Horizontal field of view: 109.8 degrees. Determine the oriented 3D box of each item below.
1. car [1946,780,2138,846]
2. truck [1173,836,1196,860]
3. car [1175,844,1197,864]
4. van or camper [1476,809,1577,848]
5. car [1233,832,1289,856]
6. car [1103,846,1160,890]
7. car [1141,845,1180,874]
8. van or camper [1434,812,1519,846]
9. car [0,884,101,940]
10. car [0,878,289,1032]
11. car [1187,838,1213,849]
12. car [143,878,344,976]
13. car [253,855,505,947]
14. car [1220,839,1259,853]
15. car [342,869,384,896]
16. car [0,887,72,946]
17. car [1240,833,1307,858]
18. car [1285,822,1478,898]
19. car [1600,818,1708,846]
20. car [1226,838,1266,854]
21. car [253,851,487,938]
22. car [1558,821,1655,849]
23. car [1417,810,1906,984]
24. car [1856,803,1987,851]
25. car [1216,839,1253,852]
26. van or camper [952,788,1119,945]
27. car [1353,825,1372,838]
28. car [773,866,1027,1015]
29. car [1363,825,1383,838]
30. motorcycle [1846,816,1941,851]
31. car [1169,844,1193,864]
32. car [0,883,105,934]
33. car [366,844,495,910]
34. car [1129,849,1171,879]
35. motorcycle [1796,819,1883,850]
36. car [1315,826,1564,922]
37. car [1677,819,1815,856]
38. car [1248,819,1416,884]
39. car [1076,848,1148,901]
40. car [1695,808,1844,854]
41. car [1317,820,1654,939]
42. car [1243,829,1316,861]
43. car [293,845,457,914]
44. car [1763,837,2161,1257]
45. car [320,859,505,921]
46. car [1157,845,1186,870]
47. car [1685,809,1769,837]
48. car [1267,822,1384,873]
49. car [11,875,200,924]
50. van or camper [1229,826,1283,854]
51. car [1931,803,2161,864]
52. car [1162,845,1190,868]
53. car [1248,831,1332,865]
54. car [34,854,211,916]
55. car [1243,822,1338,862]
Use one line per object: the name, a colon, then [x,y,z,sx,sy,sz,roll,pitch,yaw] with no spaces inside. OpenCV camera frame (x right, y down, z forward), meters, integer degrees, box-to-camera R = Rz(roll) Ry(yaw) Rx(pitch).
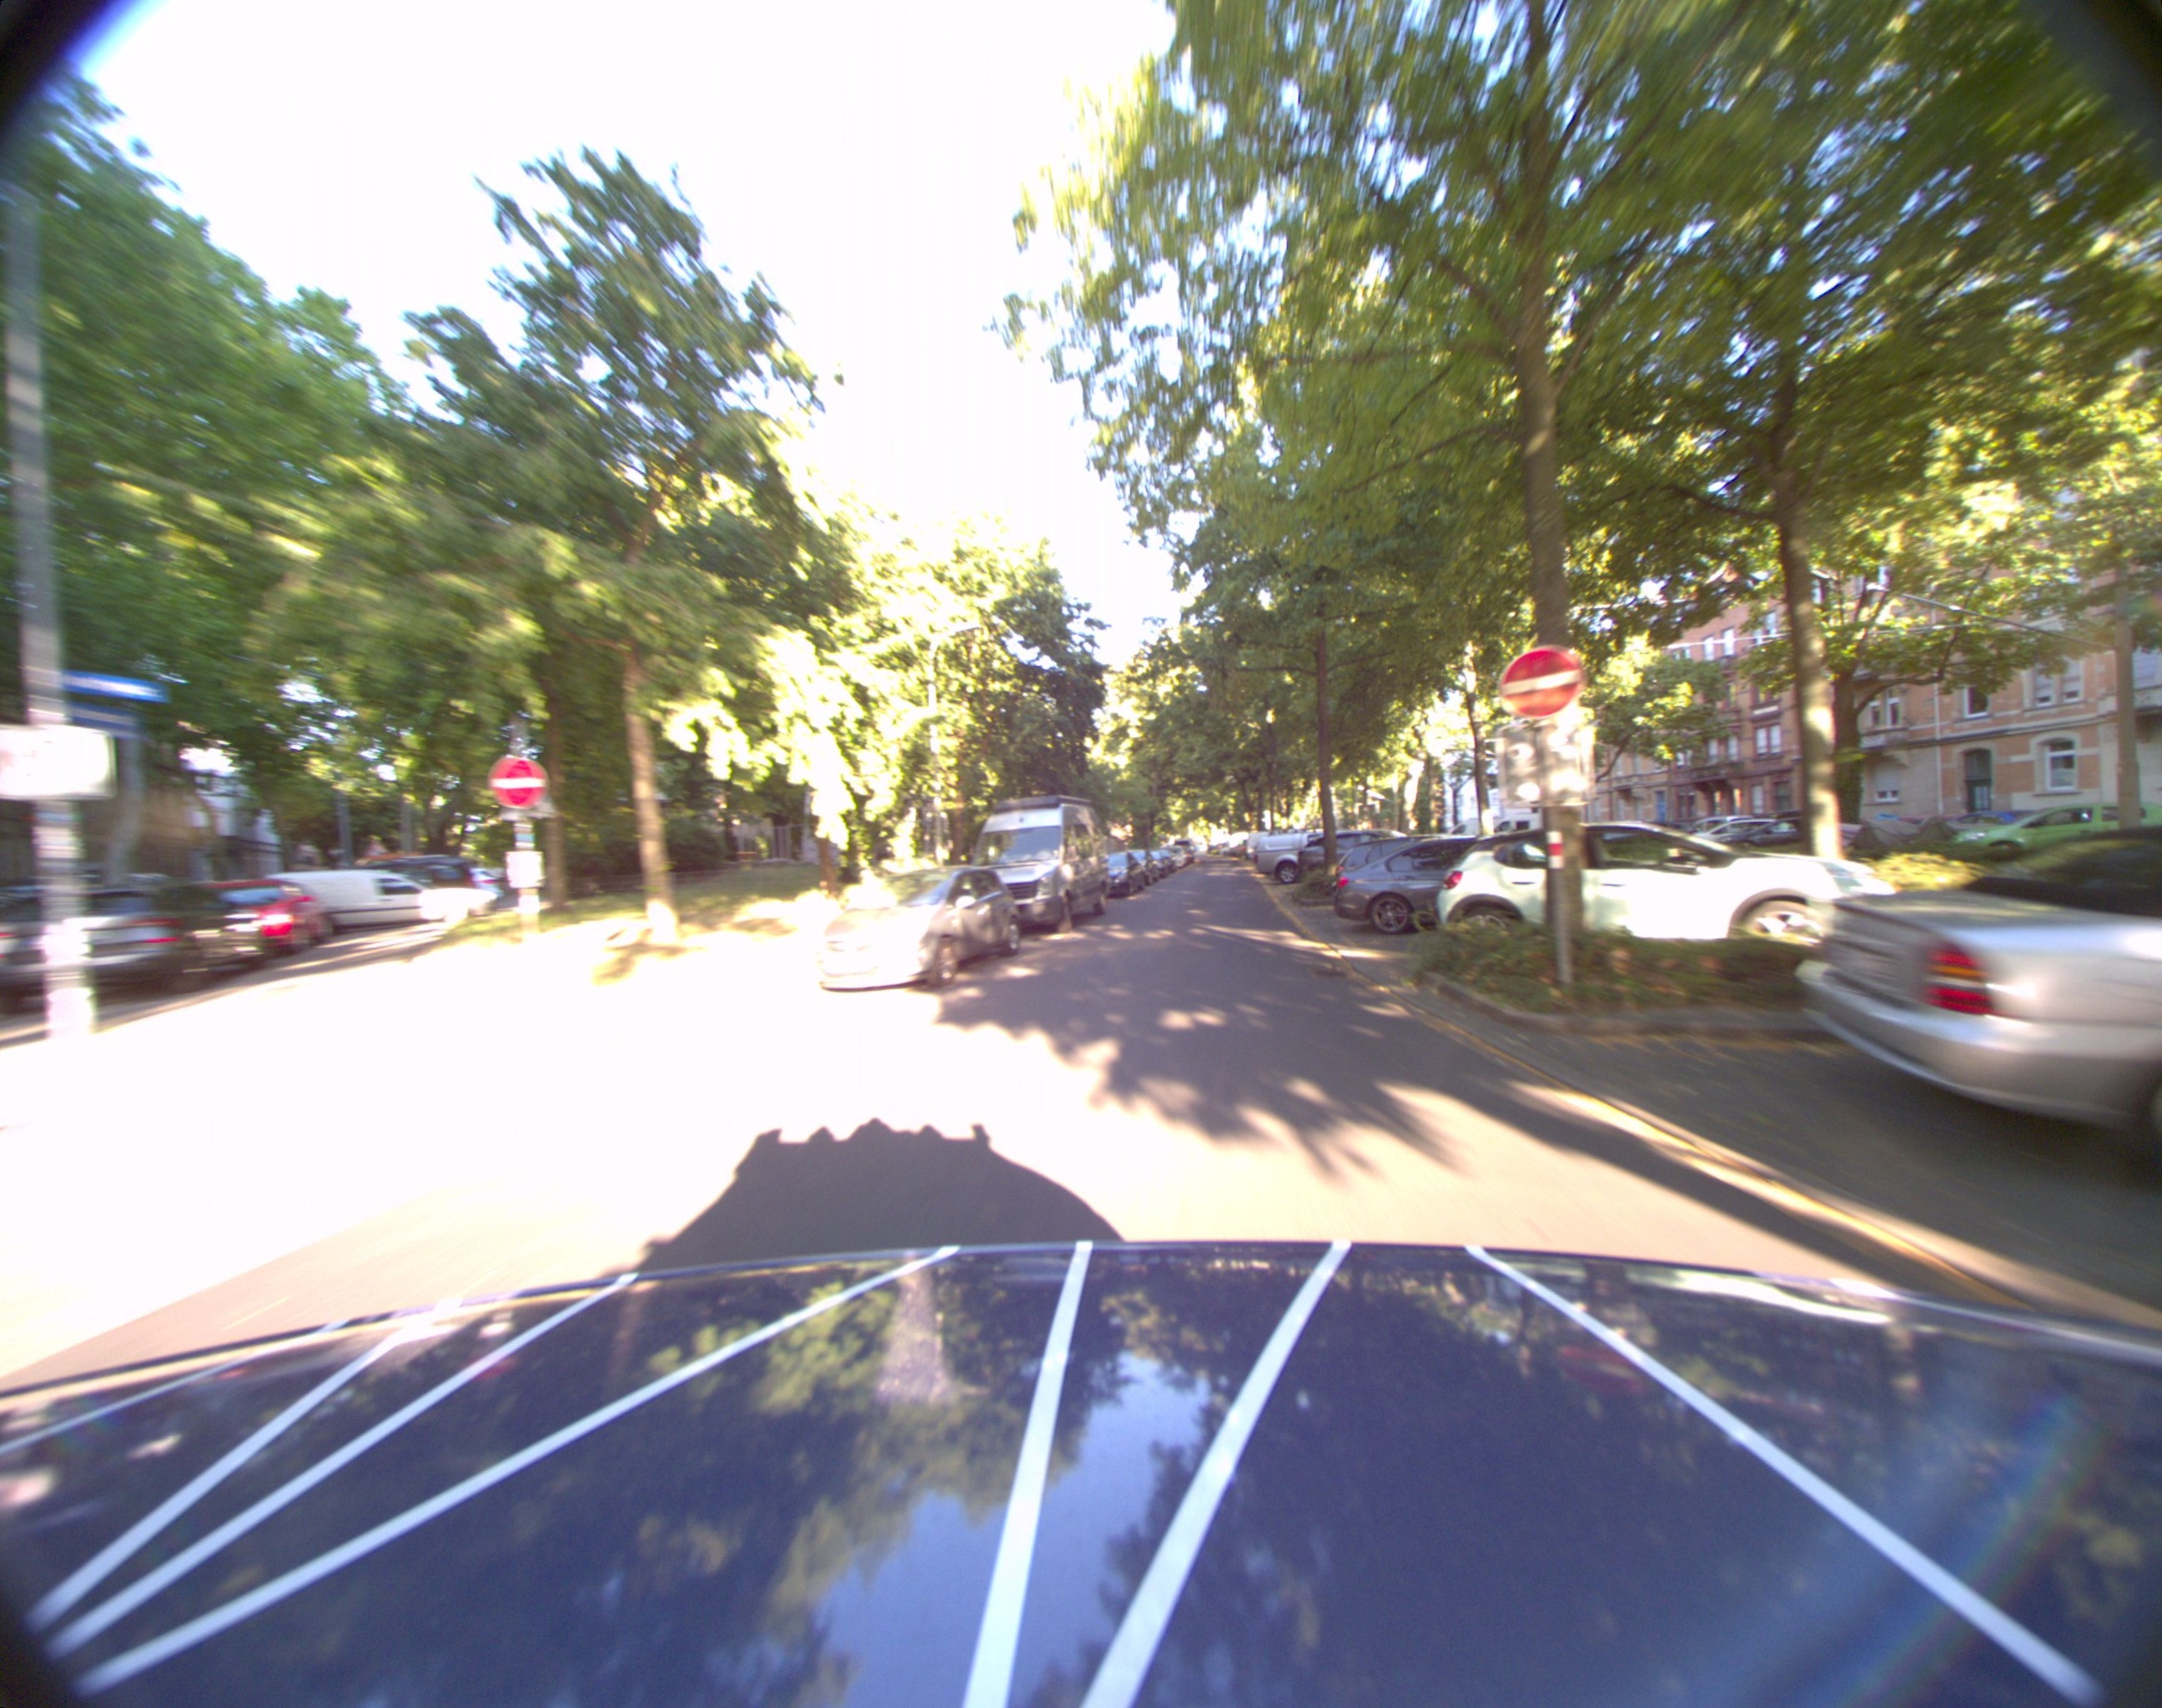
car: [34.394,-1.378,27.416,1.997,2.001,4.002,-5,0,8]
truck: [11.158,-0.689,81.995,2.300,2.372,6.937,-3,1,8]
car: [8.750,-0.030,63.216,1.675,1.445,3.951,-3,1,9]
van or camper: [29.748,-1.682,50.822,5.536,2.357,2.312,-1,1,37]
car: [18.180,-0.980,76.836,4.874,1.966,2.048,-5,1,39]
car: [2.109,0.504,30.669,1.683,1.517,4.290,-3,1,11]
car: [4.497,0.288,42.474,1.683,1.416,4.662,-3,1,11]
van or camper: [30.957,-1.923,59.489,5.661,2.454,2.004,-1,1,34]
car: [-34.223,1.839,23.525,4.493,1.621,1.730,-1,1,-42]
car: [-13.180,1.237,10.704,1.744,1.544,4.265,-7,3,-33]
car: [22.930,-2.003,146.580,4.433,1.613,1.637,-5,1,26]
car: [-16.574,1.328,15.330,1.746,1.441,4.633,-6,3,-36]
car: [-17.740,1.112,19.558,4.407,1.698,1.729,-7,3,-34]
car: [20.436,-1.082,98.305,4.455,1.396,1.860,-5,0,35]
car: [-46.004,1.805,48.755,1.738,1.623,4.488,-1,0,-41]
car: [-32.610,1.860,21.571,4.493,1.621,1.730,-1,0,-42]
car: [14.903,-0.636,58.968,4.560,1.532,1.938,-5,1,43]
car: [8.034,0.201,20.494,4.347,1.617,1.944,-5,1,39]
car: [28.310,-1.066,37.630,4.193,1.161,1.502,-2,1,38]
car: [19.964,-0.944,91.972,4.234,1.432,1.860,-5,1,35]
car: [-19.719,1.055,21.406,4.407,1.767,1.782,-7,3,-34]
car: [28.309,-1.023,40.964,4.177,1.302,1.639,-2,1,39]
car: [6.106,0.481,8.490,3.875,1.485,1.835,-5,1,37]
car: [35.797,-1.084,32.512,1.854,1.772,3.510,-5,0,8]
car: [20.439,-1.155,101.194,4.304,1.396,1.747,-5,0,32]
van or camper: [-0.704,0.189,16.621,2.087,2.746,5.849,-3,1,11]
car: [47.513,-3.773,128.272,1.998,2.002,4.001,-2,1,5]
car: [-2.208,1.032,10.443,1.683,1.438,3.875,-5,0,14]
car: [46.857,-3.591,122.075,1.998,2.002,4.001,-2,1,5]
motorcycle: [24.484,-0.614,22.952,1.723,0.950,1.022,-2,1,30]
car: [7.693,-0.015,58.253,1.593,1.445,3.557,-3,1,10]
car: [-36.957,1.894,25.745,4.493,1.621,1.730,-1,0,-42]
car: [-32.057,1.078,37.623,4.649,2.950,1.603,-4,2,-40]
car: [3.399,0.443,36.705,1.683,1.276,4.289,-3,1,9]
motorcycle: [24.656,-0.625,24.723,1.022,0.884,1.972,-3,1,-43]
car: [6.687,0.399,14.298,3.863,1.430,1.835,-5,1,36]
car: [27.152,-0.659,31.192,3.990,1.310,1.596,-2,1,30]
car: [8.611,-0.056,26.318,4.990,1.771,1.991,-5,1,38]
car: [1.154,0.625,25.737,1.683,1.517,4.492,-3,1,11]
car: [25.958,-0.846,28.861,3.989,1.569,2.004,-2,1,35]
car: [6.058,0.424,11.625,4.190,1.430,1.835,-5,1,36]
car: [14.635,-0.636,56.209,4.702,1.931,1.938,-5,1,43]
car: [-28.330,0.964,30.735,4.649,2.399,1.603,-4,2,-40]
car: [5.503,0.597,2.853,3.976,1.357,1.777,-5,1,26]
car: [-22.450,1.146,25.799,4.407,1.484,1.782,-7,3,-34]
car: [5.676,0.184,48.152,1.684,1.445,4.077,-3,1,6]
car: [37.287,-1.755,44.000,1.854,1.522,4.026,0,1,8]
car: [10.257,-0.250,32.075,1.887,1.771,4.150,-6,1,-42]
car: [-40.542,1.839,31.802,4.601,1.755,1.730,-1,0,-42]
van or camper: [18.390,-1.468,80.016,4.874,2.456,2.048,-5,1,37]
car: [24.813,-0.506,19.490,3.728,1.373,1.711,-2,1,36]
car: [6.626,0.120,52.890,1.683,1.445,4.078,-3,1,10]
car: [12.882,-0.361,47.011,4.508,1.607,1.938,-5,1,34]
car: [-42.192,1.311,33.654,4.601,2.487,1.730,-1,0,-42]
car: [13.704,-0.764,49.918,5.501,2.124,2.084,-5,1,40]
